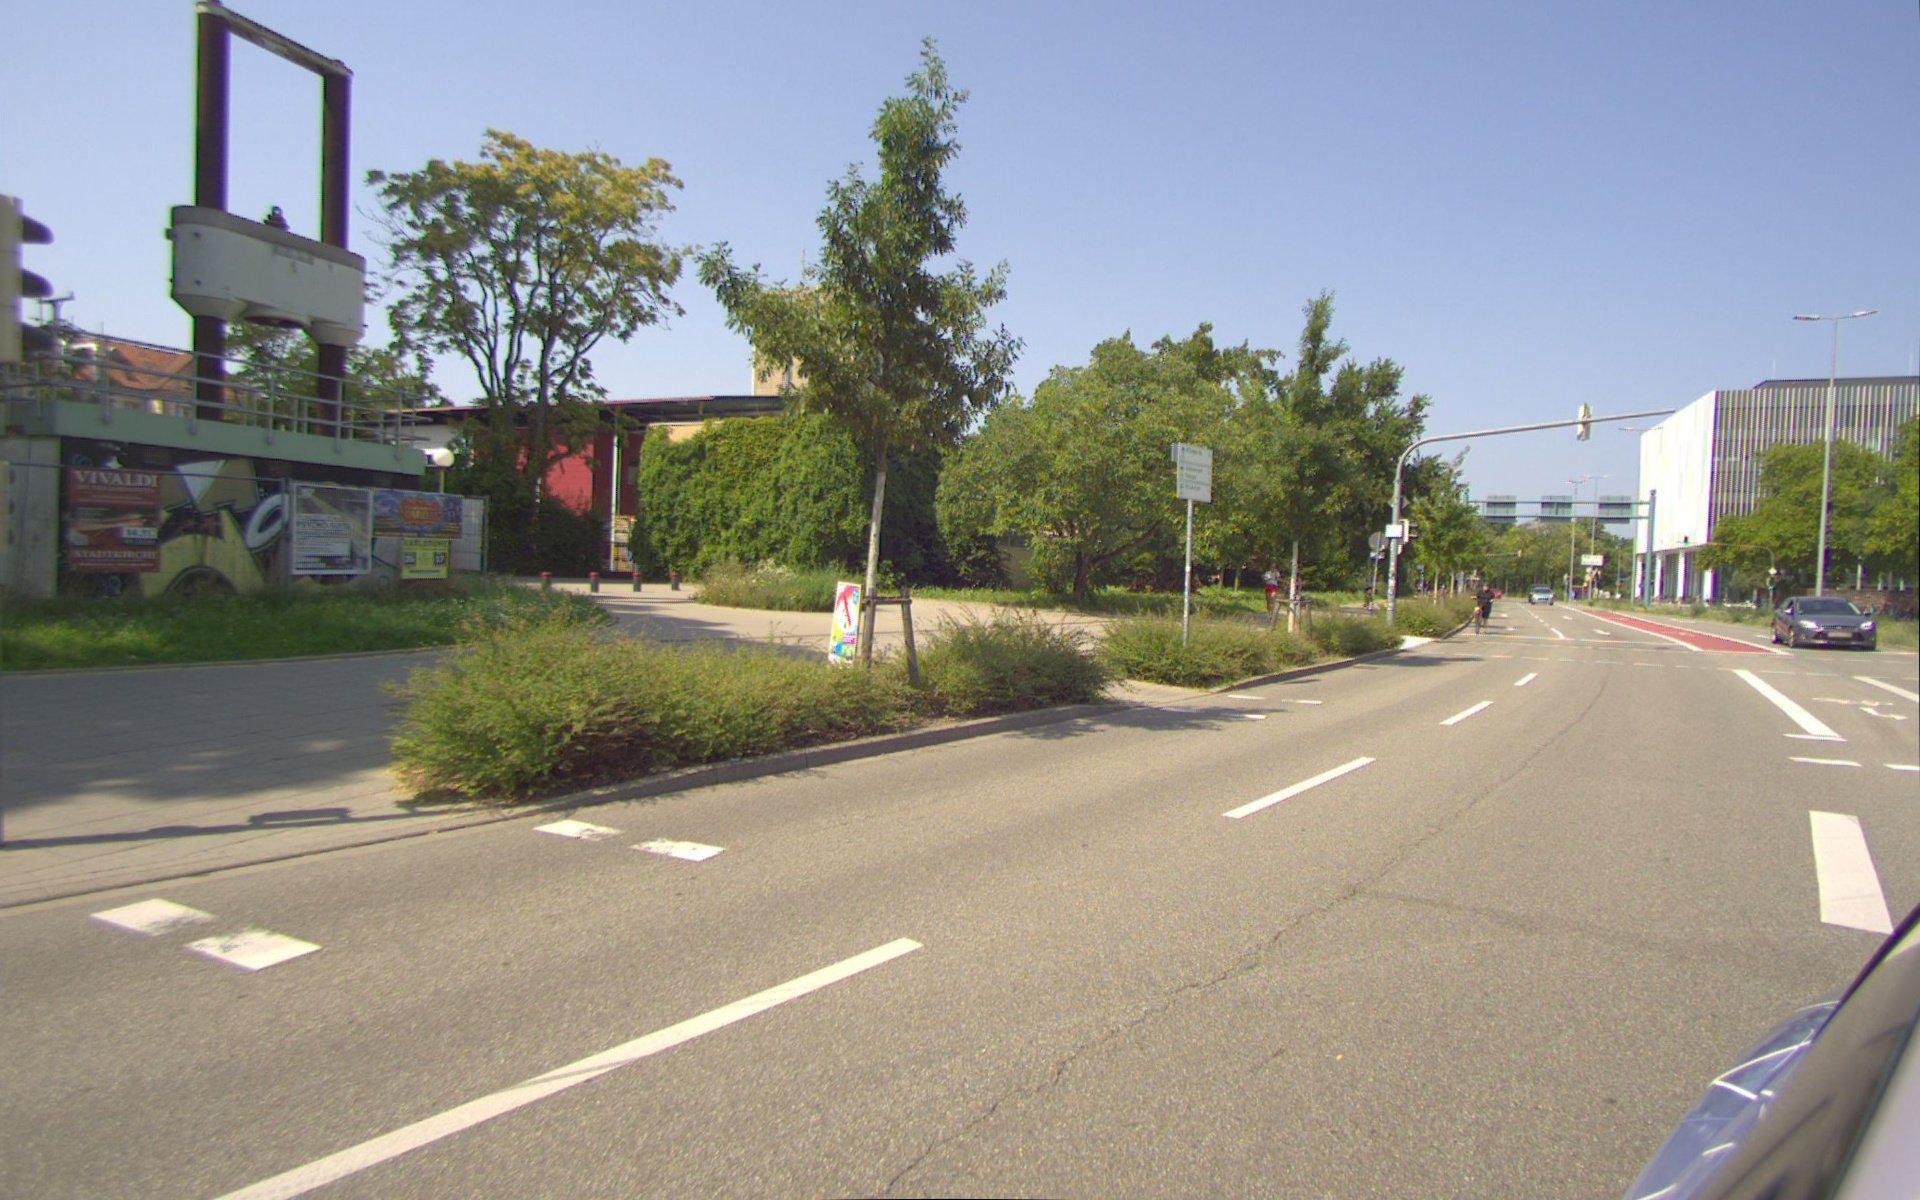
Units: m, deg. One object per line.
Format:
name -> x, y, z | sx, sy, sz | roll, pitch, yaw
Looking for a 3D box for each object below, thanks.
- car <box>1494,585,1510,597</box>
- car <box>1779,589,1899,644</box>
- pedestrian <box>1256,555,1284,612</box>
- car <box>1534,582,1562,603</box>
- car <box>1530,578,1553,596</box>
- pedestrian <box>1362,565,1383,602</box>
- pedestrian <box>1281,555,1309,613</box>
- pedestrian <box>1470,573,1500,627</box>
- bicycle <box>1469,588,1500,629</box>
car -> 80.139, -1.353, 149.656 | 1.982, 1.801, 3.961 | 3, 2, 28
car -> 24.410, 0.402, 28.227 | 1.775, 1.374, 3.391 | 1, 1, 28
pedestrian -> 9.989, -0.536, 32.557 | 0.688, 1.793, 0.581 | 3, 2, 30
car -> 52.707, -0.691, 90.727 | 1.982, 1.699, 3.961 | 3, 2, 28
car -> 62.923, -1.388, 109.614 | 1.982, 1.801, 3.961 | 3, 2, 28
pedestrian -> 20.452, -0.801, 50.187 | 0.787, 1.790, 0.818 | 3, 2, 29
pedestrian -> 10.682, -0.507, 32.278 | 0.688, 1.793, 0.581 | 3, 2, 30
pedestrian -> 16.851, -0.007, 32.487 | 0.774, 1.689, 0.543 | 3, 2, 30
bicycle -> 16.885, 0.251, 32.568 | 0.779, 1.227, 1.771 | 3, 2, 29
